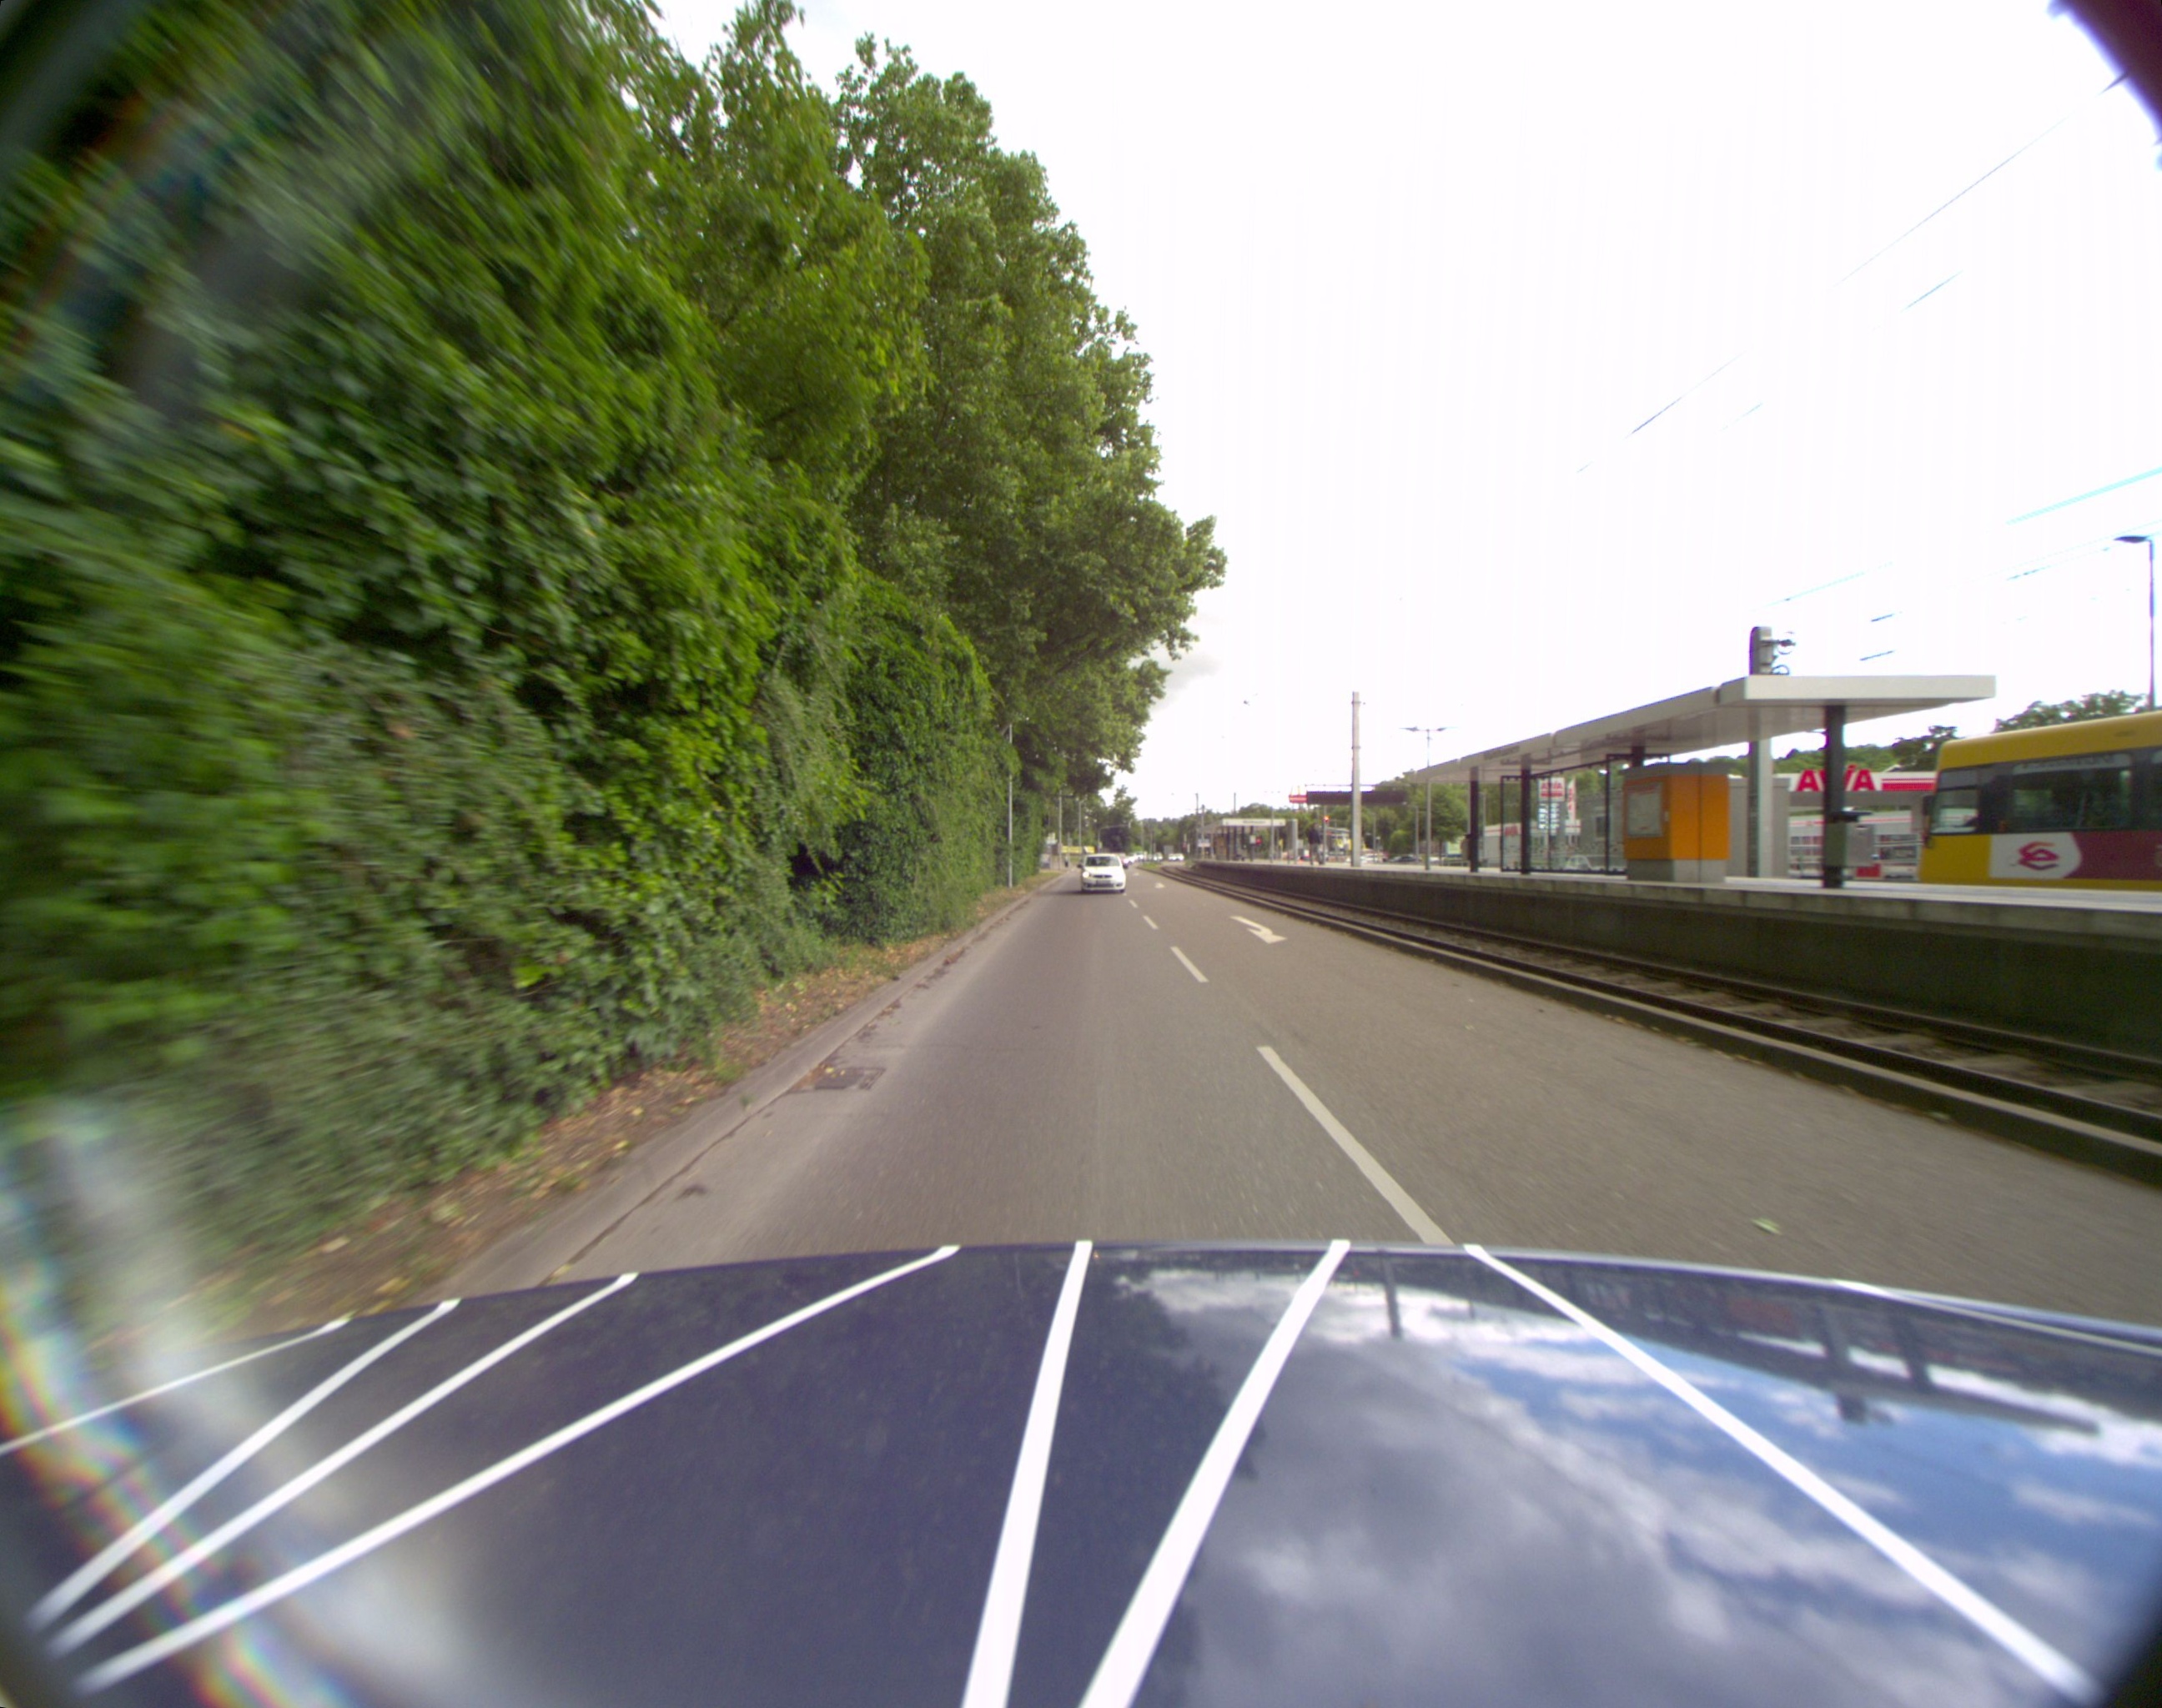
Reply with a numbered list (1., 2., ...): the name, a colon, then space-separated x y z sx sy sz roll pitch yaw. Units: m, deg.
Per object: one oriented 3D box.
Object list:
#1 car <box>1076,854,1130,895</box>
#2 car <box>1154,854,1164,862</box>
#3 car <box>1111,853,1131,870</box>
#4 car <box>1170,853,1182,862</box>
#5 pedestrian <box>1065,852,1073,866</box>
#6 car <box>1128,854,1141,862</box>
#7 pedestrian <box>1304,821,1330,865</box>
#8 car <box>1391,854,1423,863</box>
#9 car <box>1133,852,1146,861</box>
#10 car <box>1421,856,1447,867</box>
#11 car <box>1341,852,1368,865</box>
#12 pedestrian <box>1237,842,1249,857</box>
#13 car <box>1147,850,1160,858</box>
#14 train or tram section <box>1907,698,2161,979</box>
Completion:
1. car: 0.784 0.737 29.194 1.674 1.439 3.603 -2 1 -4
2. car: 16.736 0.822 163.568 1.829 1.543 4.003 1 0 10
3. car: 3.962 0.731 75.279 1.895 1.607 4.510 0 0 4
4. car: 18.285 0.683 145.625 1.965 1.543 4.003 1 0 10
5. pedestrian: -1.352 0.555 84.761 0.755 1.505 0.671 1 1 1
6. car: 9.693 0.708 136.513 1.718 1.410 4.004 2 0 12
7. pedestrian: 9.505 -0.449 30.639 0.750 1.734 0.937 1 1 1
8. car: 50.833 0.693 118.505 4.419 1.423 1.794 0 0 -11
9. car: 11.025 0.453 142.106 1.807 1.814 4.004 0 0 14
10. car: 57.006 1.225 122.805 3.631 1.545 1.731 2 0 29
11. car: 29.891 0.483 83.206 1.617 1.342 4.031 0 0 2
12. pedestrian: 12.446 -0.331 58.335 0.771 1.182 0.728 0 1 5
13. car: 14.428 0.031 150.914 1.996 1.527 4.004 2 0 14
14. train or tram section: 15.924 -0.211 4.399 2.763 3.860 18.635 0 0 3
